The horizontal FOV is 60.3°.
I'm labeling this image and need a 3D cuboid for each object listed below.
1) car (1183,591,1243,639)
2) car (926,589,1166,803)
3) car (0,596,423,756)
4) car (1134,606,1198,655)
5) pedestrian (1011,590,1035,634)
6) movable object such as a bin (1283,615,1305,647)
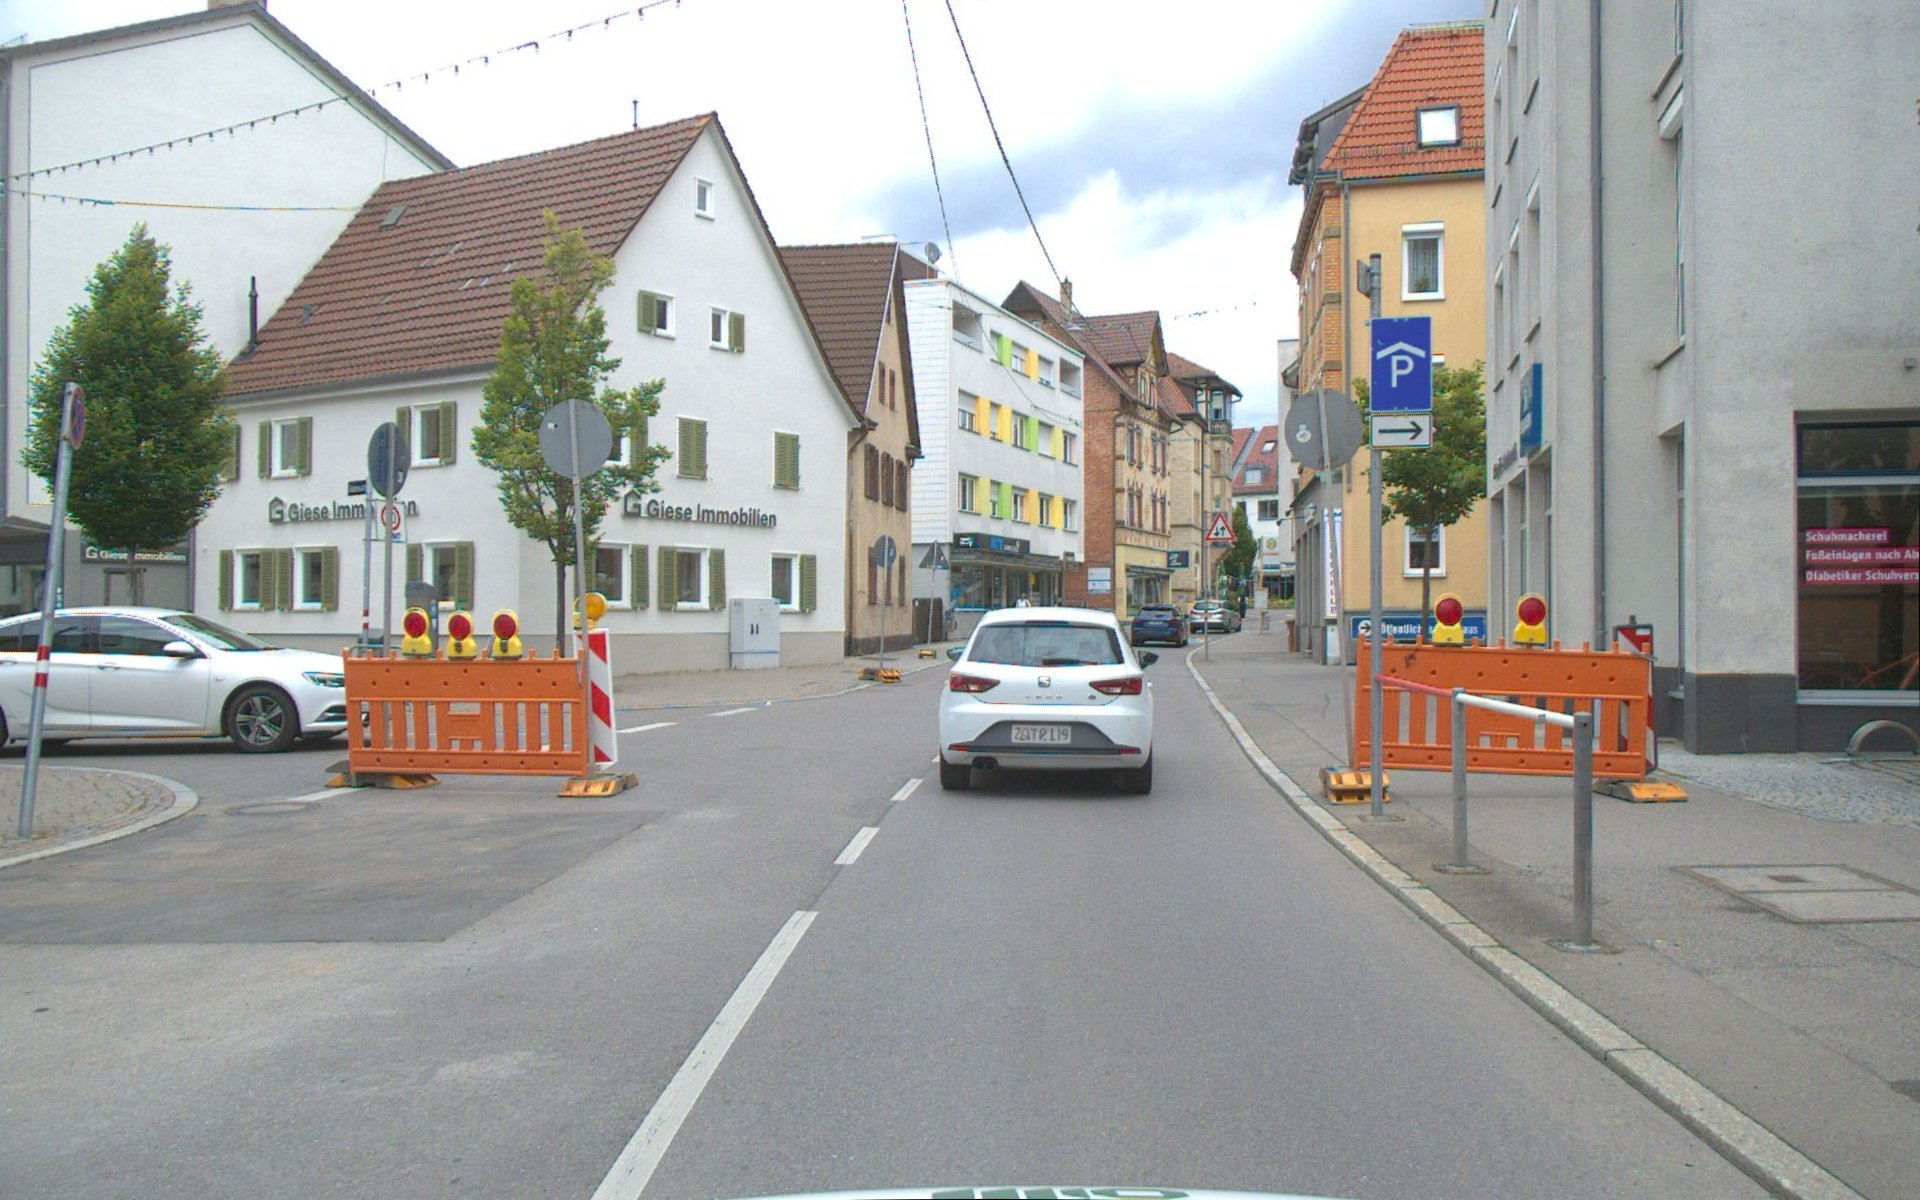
[{"bbox_3d":[11.143,0.644,72.717,1.952,2.049,4.002,0,0,18],"label":"car"},{"bbox_3d":[0.841,0.708,14.388,1.773,1.506,3.873,2,1,6],"label":"car"},{"bbox_3d":[-8.321,0.740,17.143,4.805,1.502,2.248,1,0,-4],"label":"car"},{"bbox_3d":[7.046,1.009,56.341,1.773,1.506,3.874,0,1,13],"label":"car"},{"bbox_3d":[2.432,0.465,63.958,0.873,1.694,0.862,0,0,5],"label":"pedestrian"},{"bbox_3d":[9.853,0.912,48.773,0.606,0.937,0.582,0,0,12],"label":"movable object such as a bin"}]
